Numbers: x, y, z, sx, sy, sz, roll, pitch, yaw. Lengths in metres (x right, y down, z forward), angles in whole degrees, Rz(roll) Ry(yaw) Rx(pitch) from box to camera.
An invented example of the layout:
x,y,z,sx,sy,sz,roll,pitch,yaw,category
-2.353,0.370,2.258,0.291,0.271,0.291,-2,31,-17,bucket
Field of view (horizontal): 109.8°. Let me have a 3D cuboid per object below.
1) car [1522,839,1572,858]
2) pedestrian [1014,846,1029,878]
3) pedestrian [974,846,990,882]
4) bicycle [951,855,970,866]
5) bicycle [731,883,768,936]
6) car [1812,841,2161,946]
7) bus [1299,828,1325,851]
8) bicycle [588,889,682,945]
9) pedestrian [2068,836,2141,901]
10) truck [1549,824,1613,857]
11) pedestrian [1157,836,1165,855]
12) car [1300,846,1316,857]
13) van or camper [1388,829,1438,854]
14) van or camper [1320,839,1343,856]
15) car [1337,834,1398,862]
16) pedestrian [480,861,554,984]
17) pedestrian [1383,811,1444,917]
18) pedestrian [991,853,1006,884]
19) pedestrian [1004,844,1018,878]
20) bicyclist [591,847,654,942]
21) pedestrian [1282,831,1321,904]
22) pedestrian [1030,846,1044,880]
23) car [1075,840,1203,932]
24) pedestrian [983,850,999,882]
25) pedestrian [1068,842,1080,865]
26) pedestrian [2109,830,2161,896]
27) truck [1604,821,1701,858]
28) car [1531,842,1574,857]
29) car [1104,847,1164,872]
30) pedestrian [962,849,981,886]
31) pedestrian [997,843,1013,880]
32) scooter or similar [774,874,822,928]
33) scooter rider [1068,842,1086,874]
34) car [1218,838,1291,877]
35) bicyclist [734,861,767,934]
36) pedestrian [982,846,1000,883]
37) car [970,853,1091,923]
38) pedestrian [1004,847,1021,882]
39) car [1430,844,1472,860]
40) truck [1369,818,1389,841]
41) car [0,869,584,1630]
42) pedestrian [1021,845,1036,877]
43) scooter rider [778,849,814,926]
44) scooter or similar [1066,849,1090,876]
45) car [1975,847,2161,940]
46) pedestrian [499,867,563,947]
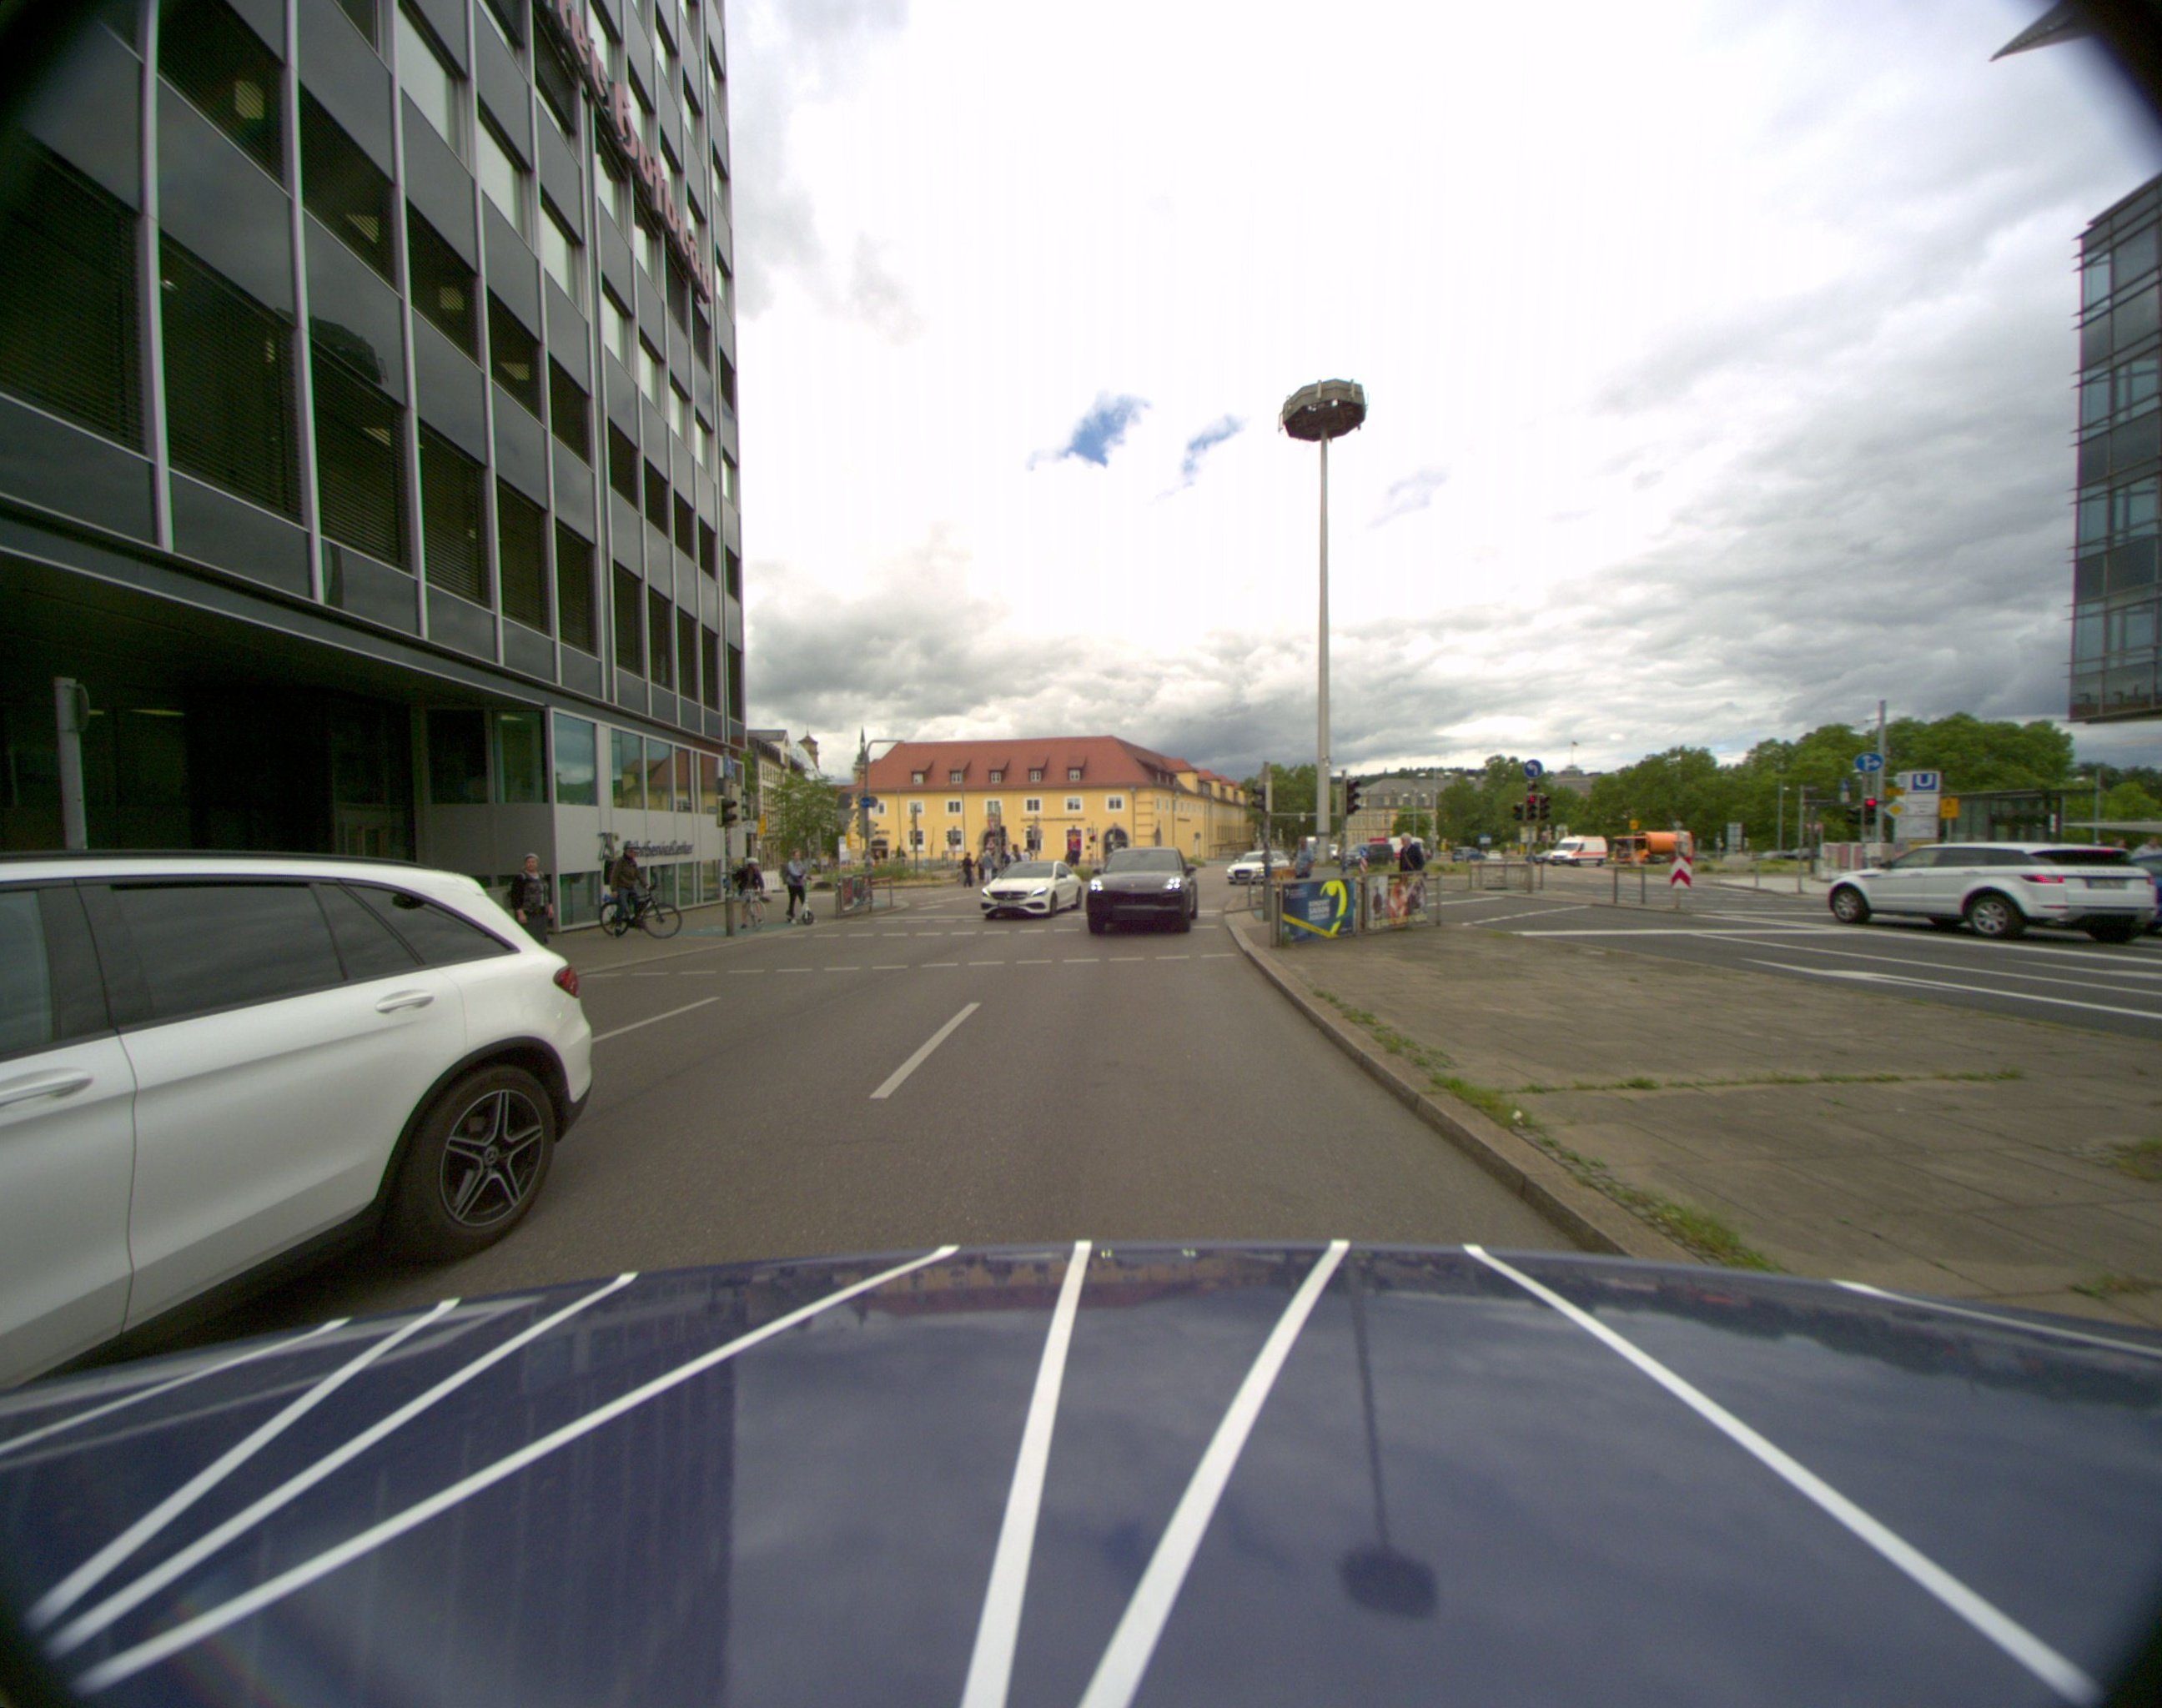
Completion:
x,y,z,sx,sy,sz,roll,pitch,yaw,category
43.519,-0.488,70.964,3.742,1.729,1.858,0,1,-14,car
-3.214,0.431,41.119,0.611,1.686,0.641,-2,1,-25,pedestrian
-5.127,0.503,39.327,0.670,1.805,0.701,-2,1,-22,pedestrian
-12.140,0.656,76.693,1.769,1.079,0.621,-1,1,8,bicycle
-7.430,1.203,17.004,0.582,1.021,1.665,-1,2,-30,bicycle
15.957,0.572,13.678,1.738,1.589,4.320,0,1,6,car
35.002,-2.158,114.761,3.428,3.185,13.079,-1,1,18,bus
-8.863,1.221,15.096,1.763,1.001,0.682,1,-1,23,bicycle
26.315,0.361,19.552,0.653,1.605,0.966,0,4,22,pedestrian
43.401,-1.155,65.909,5.797,2.768,1.952,0,1,-26,truck
7.804,-0.811,74.183,0.639,1.884,0.557,0,1,-12,pedestrian
30.636,-0.300,102.333,1.825,1.401,4.005,0,1,20,car
34.253,-1.268,78.331,6.173,2.463,2.141,-1,1,-39,van or camper
33.802,-0.837,102.340,2.369,2.249,6.297,1,1,23,van or camper
20.960,-0.455,55.583,4.650,1.977,1.855,-1,2,-36,car
-8.201,0.977,11.083,0.526,1.702,0.752,1,3,-7,pedestrian
6.934,0.196,15.874,0.880,2.160,0.761,-1,1,-19,pedestrian
-4.543,0.808,41.906,0.611,1.686,0.641,-2,1,-25,pedestrian
-3.963,0.365,42.944,0.611,1.899,0.641,-2,1,-25,pedestrian
-9.094,0.782,15.077,0.812,1.835,0.676,0,1,23,bicyclist
5.548,0.332,19.134,0.717,1.780,0.634,3,0,-1,pedestrian
-2.539,0.515,43.700,0.611,1.944,0.641,-2,1,-21,pedestrian
1.420,0.564,16.196,2.003,1.629,5.025,-2,1,12,car
-4.782,0.643,40.394,0.611,1.686,0.641,-2,1,-25,pedestrian
-0.539,-0.024,58.181,0.827,1.779,0.753,-1,1,6,pedestrian
26.961,0.223,19.333,0.604,1.622,0.787,-1,3,21,pedestrian
58.180,-1.425,77.378,9.182,3.594,2.725,0,-1,-13,truck
44.202,-0.423,71.202,3.305,1.364,1.663,-1,1,-18,car
3.445,0.338,49.994,3.808,1.567,1.999,0,1,-2,car
-5.167,0.634,35.822,0.802,1.688,0.547,-1,1,-19,pedestrian
-4.036,0.404,40.357,0.611,1.954,0.641,-2,1,-25,pedestrian
-6.780,1.106,18.184,0.594,1.169,1.319,-1,2,-43,scooter or similar
-0.211,0.223,41.464,0.767,1.684,0.745,-1,1,-17,scooter rider
8.084,0.228,35.086,2.092,1.599,4.422,-4,-3,28,car
-7.342,0.948,16.852,0.566,1.541,0.844,-1,2,-30,bicyclist
-4.594,0.536,38.725,0.670,1.852,0.701,-2,1,-22,pedestrian
-1.177,0.807,20.110,1.868,1.560,4.656,-1,1,13,car
-3.574,0.539,39.701,0.670,1.751,0.762,-2,1,-22,pedestrian
36.267,-0.175,74.434,4.637,1.474,1.944,-1,-1,-41,car
47.322,-3.802,120.791,2.785,3.470,8.361,1,1,20,truck
-3.334,0.923,1.477,1.806,1.637,4.334,1,1,1,car
-2.919,0.386,42.548,0.611,1.786,0.641,-2,1,-25,pedestrian
-6.842,0.790,18.243,0.594,1.798,0.641,-1,2,-43,scooter rider
-0.195,0.462,41.454,0.777,1.398,1.885,-1,1,-17,scooter or similar
18.752,0.646,13.037,1.998,1.516,4.091,0,1,0,car
-10.210,0.963,14.134,0.606,1.434,0.838,0,1,-6,pedestrian
